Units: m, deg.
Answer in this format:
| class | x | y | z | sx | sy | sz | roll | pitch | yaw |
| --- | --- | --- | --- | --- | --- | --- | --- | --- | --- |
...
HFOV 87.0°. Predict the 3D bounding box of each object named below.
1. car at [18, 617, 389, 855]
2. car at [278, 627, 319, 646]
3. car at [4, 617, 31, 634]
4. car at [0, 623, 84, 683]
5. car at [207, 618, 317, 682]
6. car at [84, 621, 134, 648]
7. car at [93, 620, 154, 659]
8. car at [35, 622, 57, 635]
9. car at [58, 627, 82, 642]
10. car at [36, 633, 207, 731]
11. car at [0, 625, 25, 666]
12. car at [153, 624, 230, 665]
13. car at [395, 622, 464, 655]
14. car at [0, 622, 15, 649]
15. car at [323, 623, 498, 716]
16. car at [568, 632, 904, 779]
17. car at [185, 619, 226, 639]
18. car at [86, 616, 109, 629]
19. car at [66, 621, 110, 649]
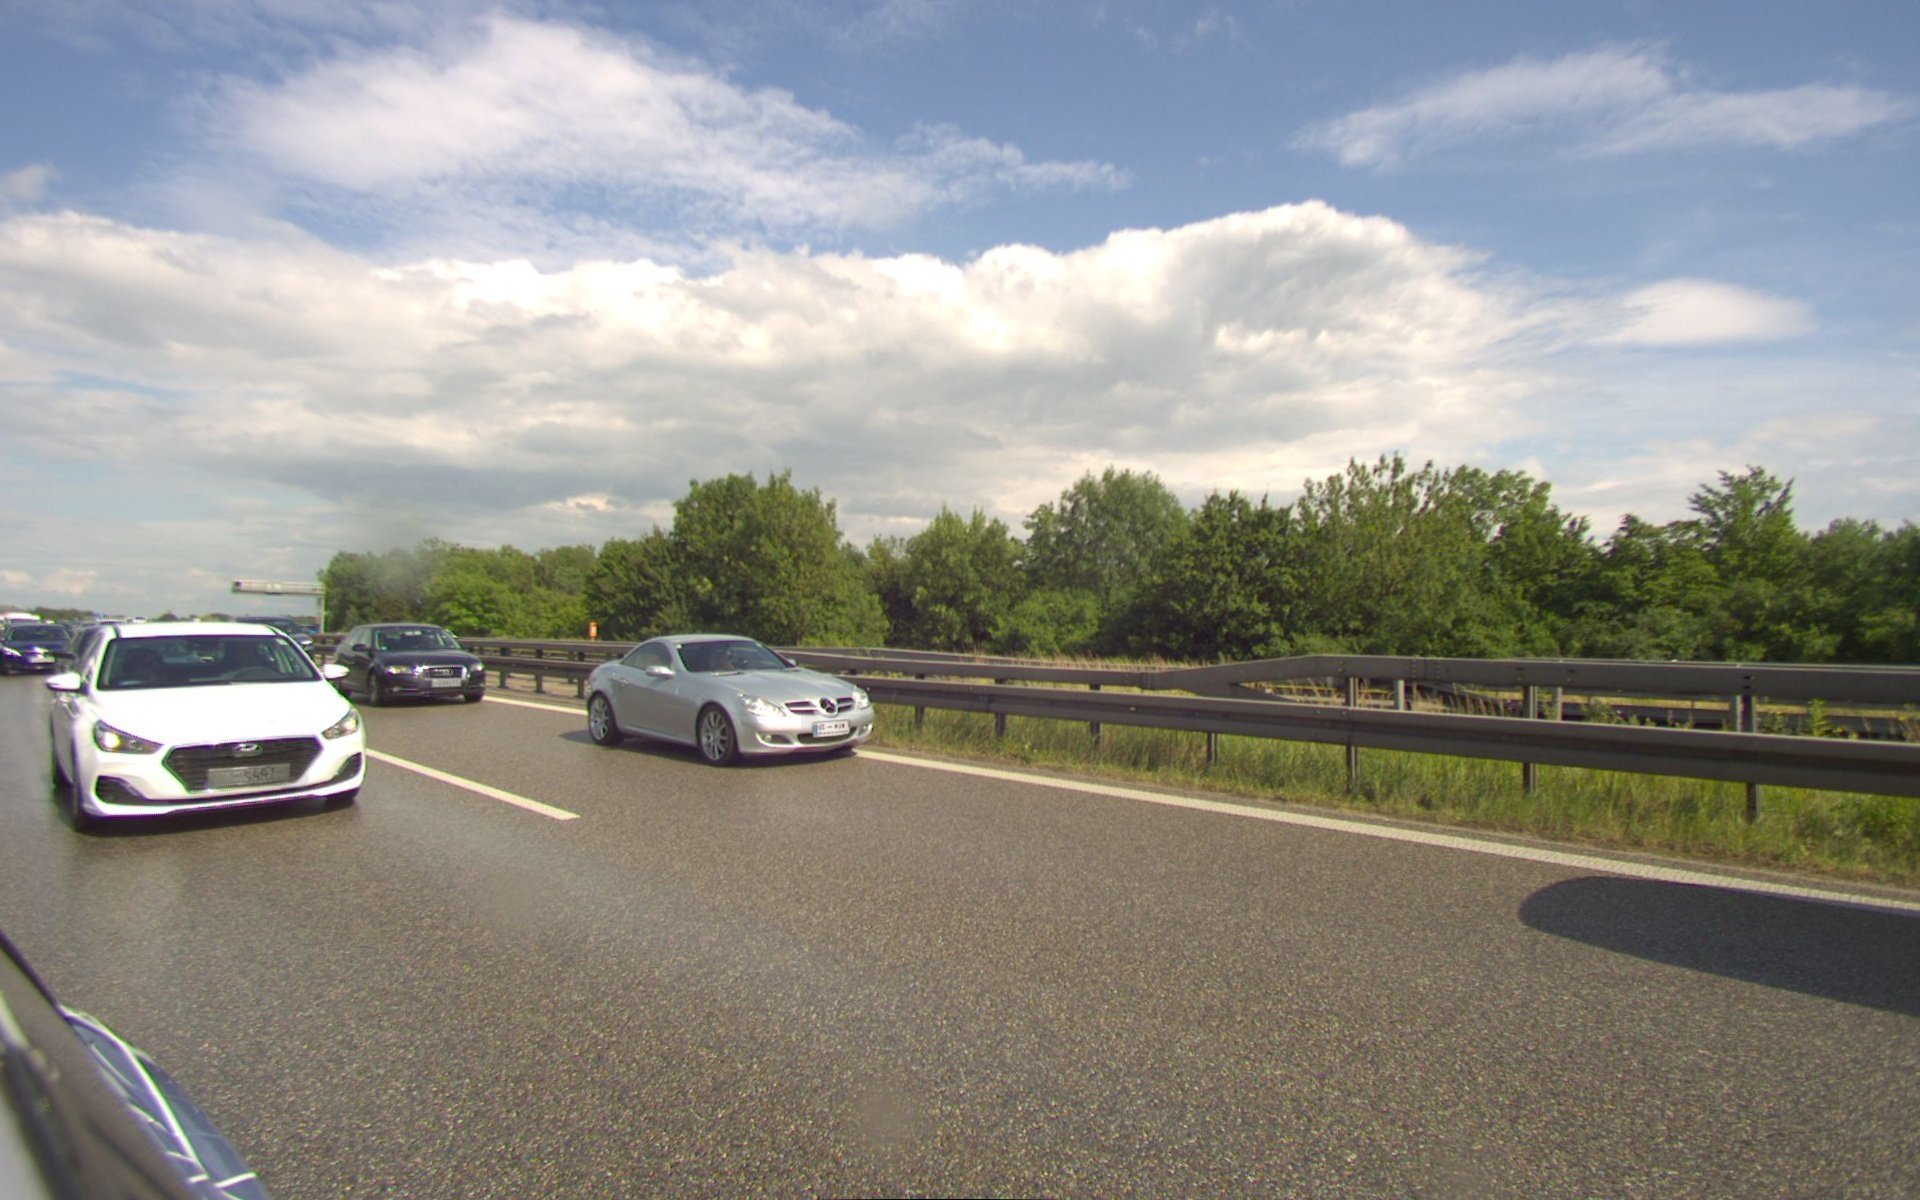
| class | x | y | z | sx | sy | sz | roll | pitch | yaw |
| --- | --- | --- | --- | --- | --- | --- | --- | --- | --- |
| car | -6.555 | 0.897 | 8.540 | 4.550 | 1.466 | 1.860 | -2 | -2 | 45 |
| car | -48.793 | 2.671 | 74.590 | 3.878 | 1.390 | 1.737 | -2 | -2 | 44 |
| car | -100.304 | 2.735 | 107.715 | 4.002 | 1.710 | 1.971 | 0 | 0 | 45 |
| car | -26.533 | 1.455 | 28.909 | 4.002 | 1.497 | 1.971 | 0 | 0 | 45 |
| car | -19.462 | 1.329 | 28.146 | 1.848 | 1.618 | 4.232 | 1 | -1 | -44 |
| car | -51.263 | 2.051 | 60.946 | 4.002 | 1.490 | 1.971 | 0 | 0 | 45 |
| car | -42.036 | 1.951 | 50.823 | 4.002 | 1.762 | 1.971 | 0 | 0 | 45 |
| car | -125.462 | 3.906 | 138.860 | 4.002 | 1.710 | 1.971 | 0 | 0 | 45 |
| car | -108.494 | 4.227 | 123.377 | 4.002 | 1.710 | 1.971 | 0 | 0 | 45 |
| car | -13.565 | 1.213 | 16.284 | 4.289 | 1.348 | 1.705 | -2 | -2 | 45 |
| car | -39.110 | 1.828 | 40.745 | 4.002 | 1.490 | 1.971 | 0 | 0 | 45 |
| car | -28.843 | 1.628 | 37.955 | 4.002 | 1.389 | 1.747 | 0 | -1 | 45 |
| car | -28.395 | 2.040 | 54.146 | 4.462 | 1.700 | 1.971 | -2 | -2 | 44 |
| car | -57.108 | 2.111 | 59.582 | 4.002 | 1.490 | 1.971 | 0 | 0 | 45 |
| car | -9.994 | 1.156 | 18.255 | 1.746 | 1.436 | 4.142 | 0 | -1 | -44 |
| car | -2.604 | 1.013 | 11.163 | 4.065 | 1.288 | 1.705 | -2 | -2 | 45 |
| car | -61.661 | 2.366 | 82.675 | 3.999 | 1.636 | 1.972 | -1 | -2 | 42 |
| car | -113.422 | 2.970 | 133.113 | 1.970 | 1.792 | 4.463 | 1 | -2 | -45 |
| car | -60.076 | 2.386 | 69.698 | 4.002 | 1.710 | 1.971 | 0 | 0 | 45 |
